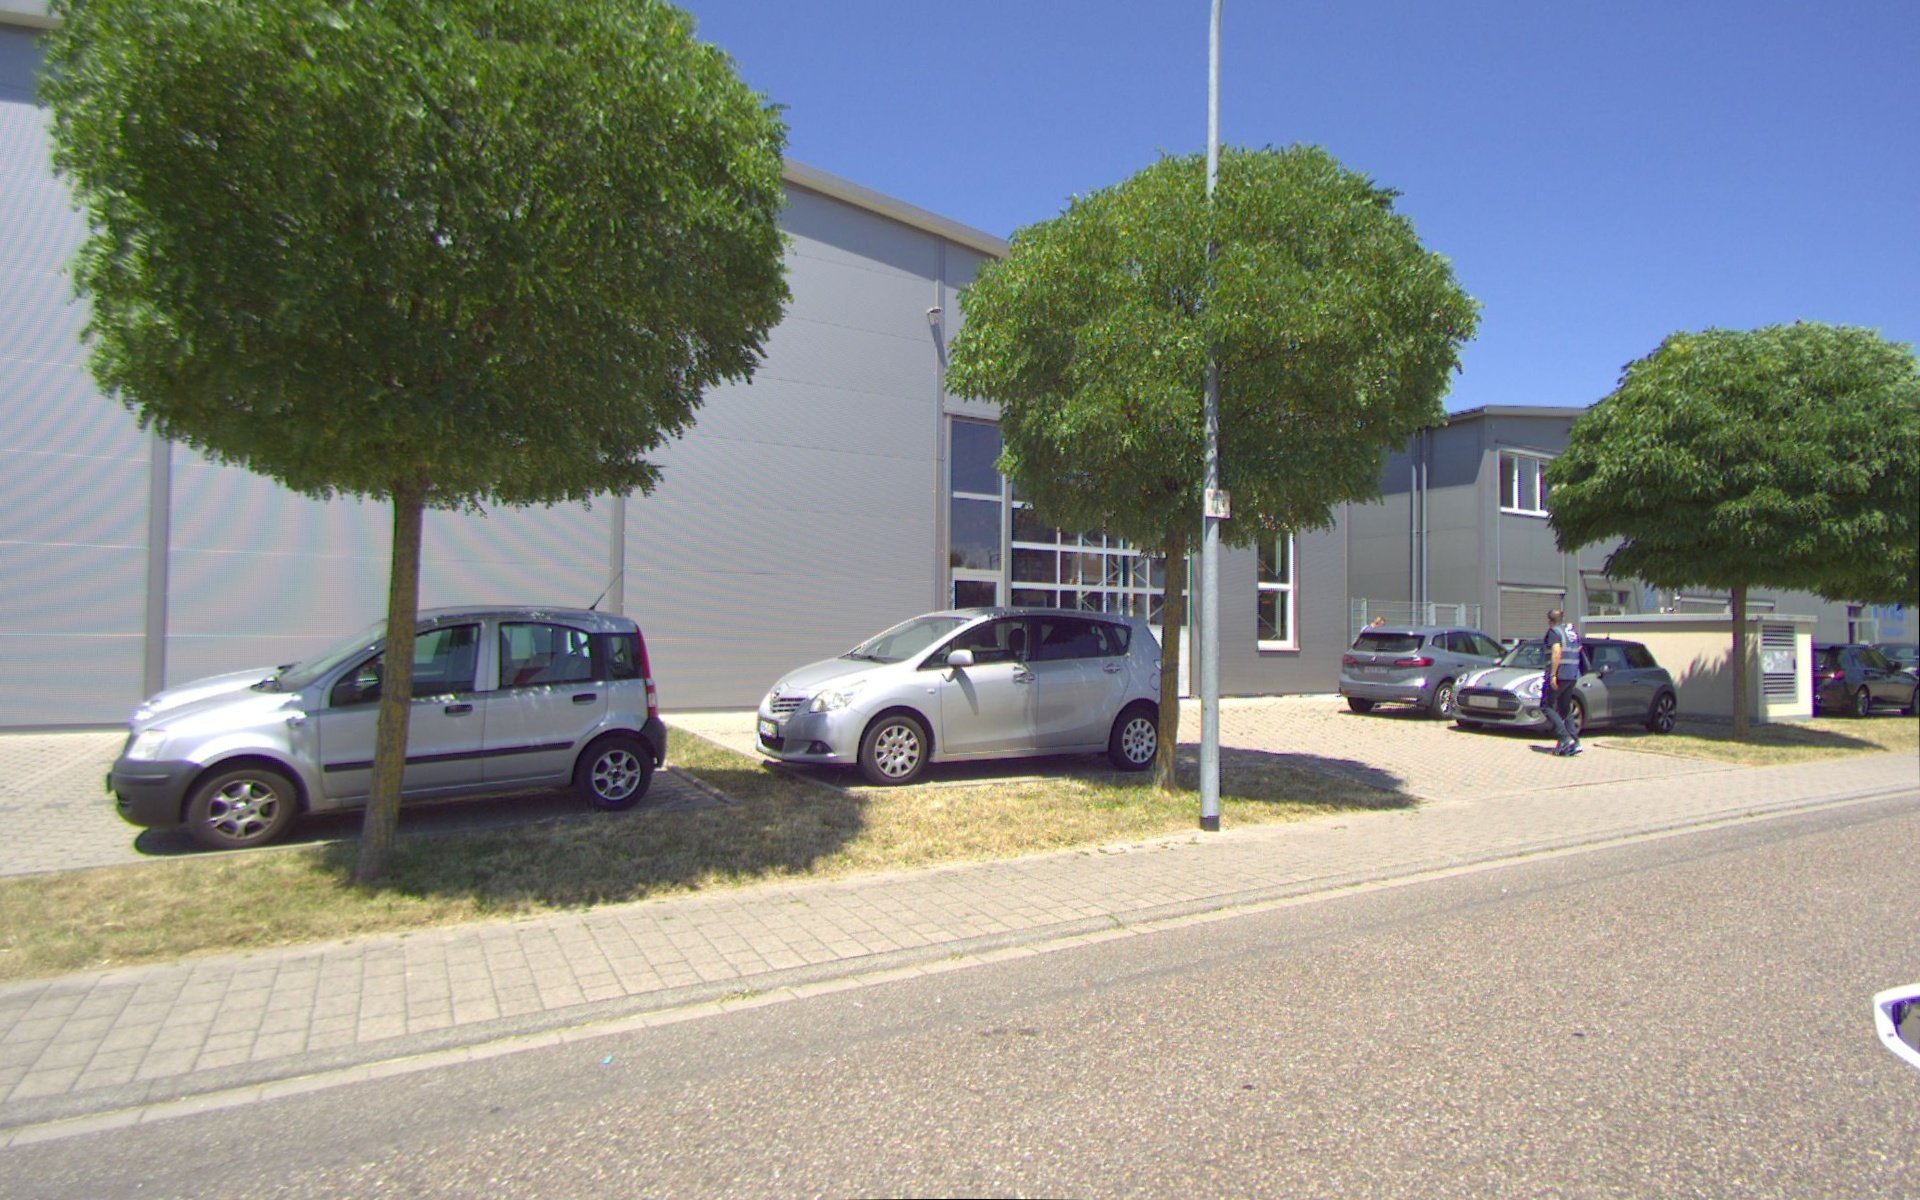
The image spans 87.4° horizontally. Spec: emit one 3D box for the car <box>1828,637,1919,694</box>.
[{"bbox_3d":[26.769,1.827,28.647,4.041,1.460,1.916,2,0,-32],"label":"car"}]

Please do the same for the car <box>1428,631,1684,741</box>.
[{"bbox_3d":[9.260,1.259,15.564,3.793,1.473,1.758,2,-1,-29],"label":"car"}]

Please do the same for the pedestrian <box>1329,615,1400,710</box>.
[{"bbox_3d":[7.715,1.173,19.179,0.953,1.736,0.836,1,-1,-30],"label":"pedestrian"}]

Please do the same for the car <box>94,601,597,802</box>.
[{"bbox_3d":[-5.493,0.820,9.348,3.667,1.520,1.672,2,-1,-35],"label":"car"}]

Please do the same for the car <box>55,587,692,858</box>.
[{"bbox_3d":[-4.052,0.750,7.413,3.667,1.520,1.672,2,-2,-35],"label":"car"}]

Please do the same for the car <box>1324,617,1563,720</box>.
[{"bbox_3d":[8.712,1.175,18.022,4.295,1.649,1.728,2,-1,-29],"label":"car"}]

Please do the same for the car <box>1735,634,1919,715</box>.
[{"bbox_3d":[18.080,1.477,20.684,4.658,1.472,1.757,2,-1,-30],"label":"car"}]

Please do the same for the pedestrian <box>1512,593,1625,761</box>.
[{"bbox_3d":[7.548,0.925,12.514,0.945,1.999,0.843,1,-1,10],"label":"pedestrian"}]

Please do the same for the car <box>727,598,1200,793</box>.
[{"bbox_3d":[0.123,0.845,10.103,4.485,1.594,1.757,2,-1,-30],"label":"car"}]
